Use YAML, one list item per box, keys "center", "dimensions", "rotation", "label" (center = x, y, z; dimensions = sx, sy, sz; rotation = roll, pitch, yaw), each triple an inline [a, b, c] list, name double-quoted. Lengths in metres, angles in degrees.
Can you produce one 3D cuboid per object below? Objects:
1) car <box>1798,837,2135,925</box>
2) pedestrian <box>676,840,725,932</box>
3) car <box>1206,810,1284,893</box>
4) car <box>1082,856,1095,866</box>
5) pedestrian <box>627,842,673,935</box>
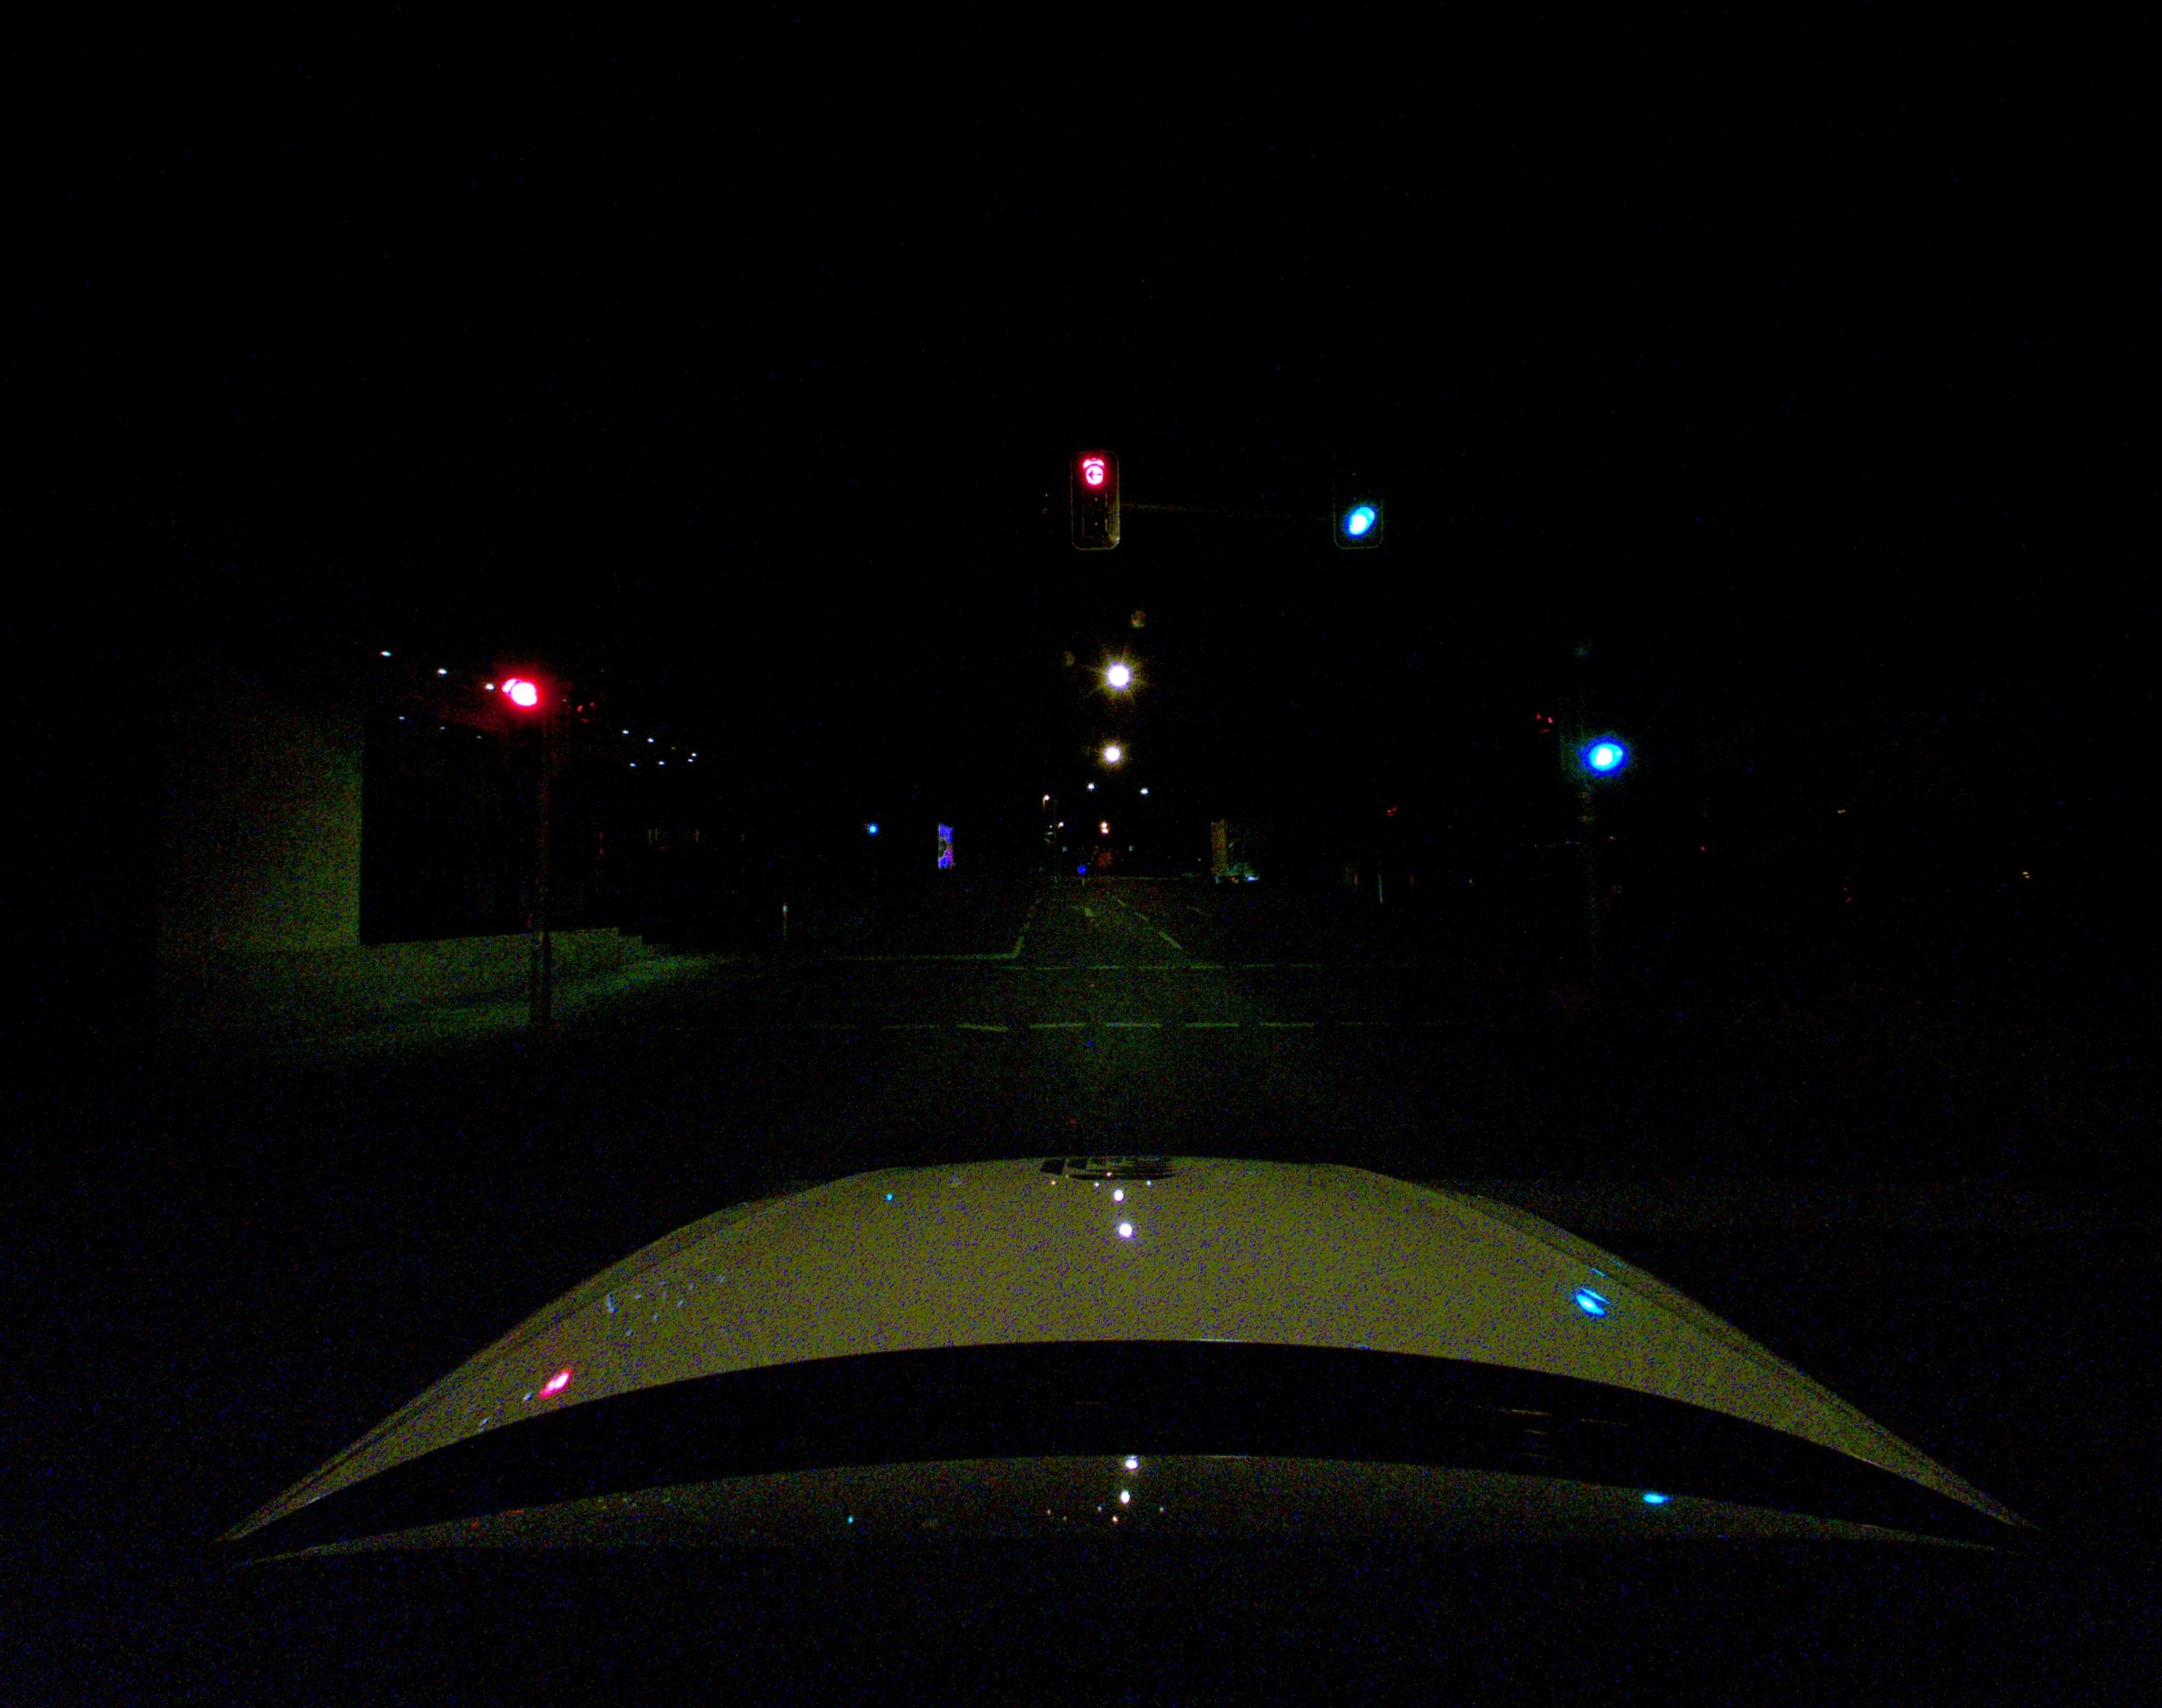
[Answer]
- center: [17.456, 0.565, 16.287]
  dimensions: [4.342, 1.560, 1.807]
  rotation: [-2, -3, 8]
  label: "car"
- center: [-7.567, 0.632, 16.231]
  dimensions: [0.568, 1.778, 0.737]
  rotation: [1, -1, 1]
  label: "pedestrian"
- center: [6.764, -0.083, 34.250]
  dimensions: [2.287, 3.093, 5.845]
  rotation: [-2, -1, 3]
  label: "car"
- center: [1.254, 1.167, 134.533]
  dimensions: [1.901, 1.557, 3.906]
  rotation: [0, -1, 2]
  label: "car"
- center: [-8.170, 0.641, 15.447]
  dimensions: [0.568, 1.731, 0.544]
  rotation: [0, -1, 1]
  label: "pedestrian"
